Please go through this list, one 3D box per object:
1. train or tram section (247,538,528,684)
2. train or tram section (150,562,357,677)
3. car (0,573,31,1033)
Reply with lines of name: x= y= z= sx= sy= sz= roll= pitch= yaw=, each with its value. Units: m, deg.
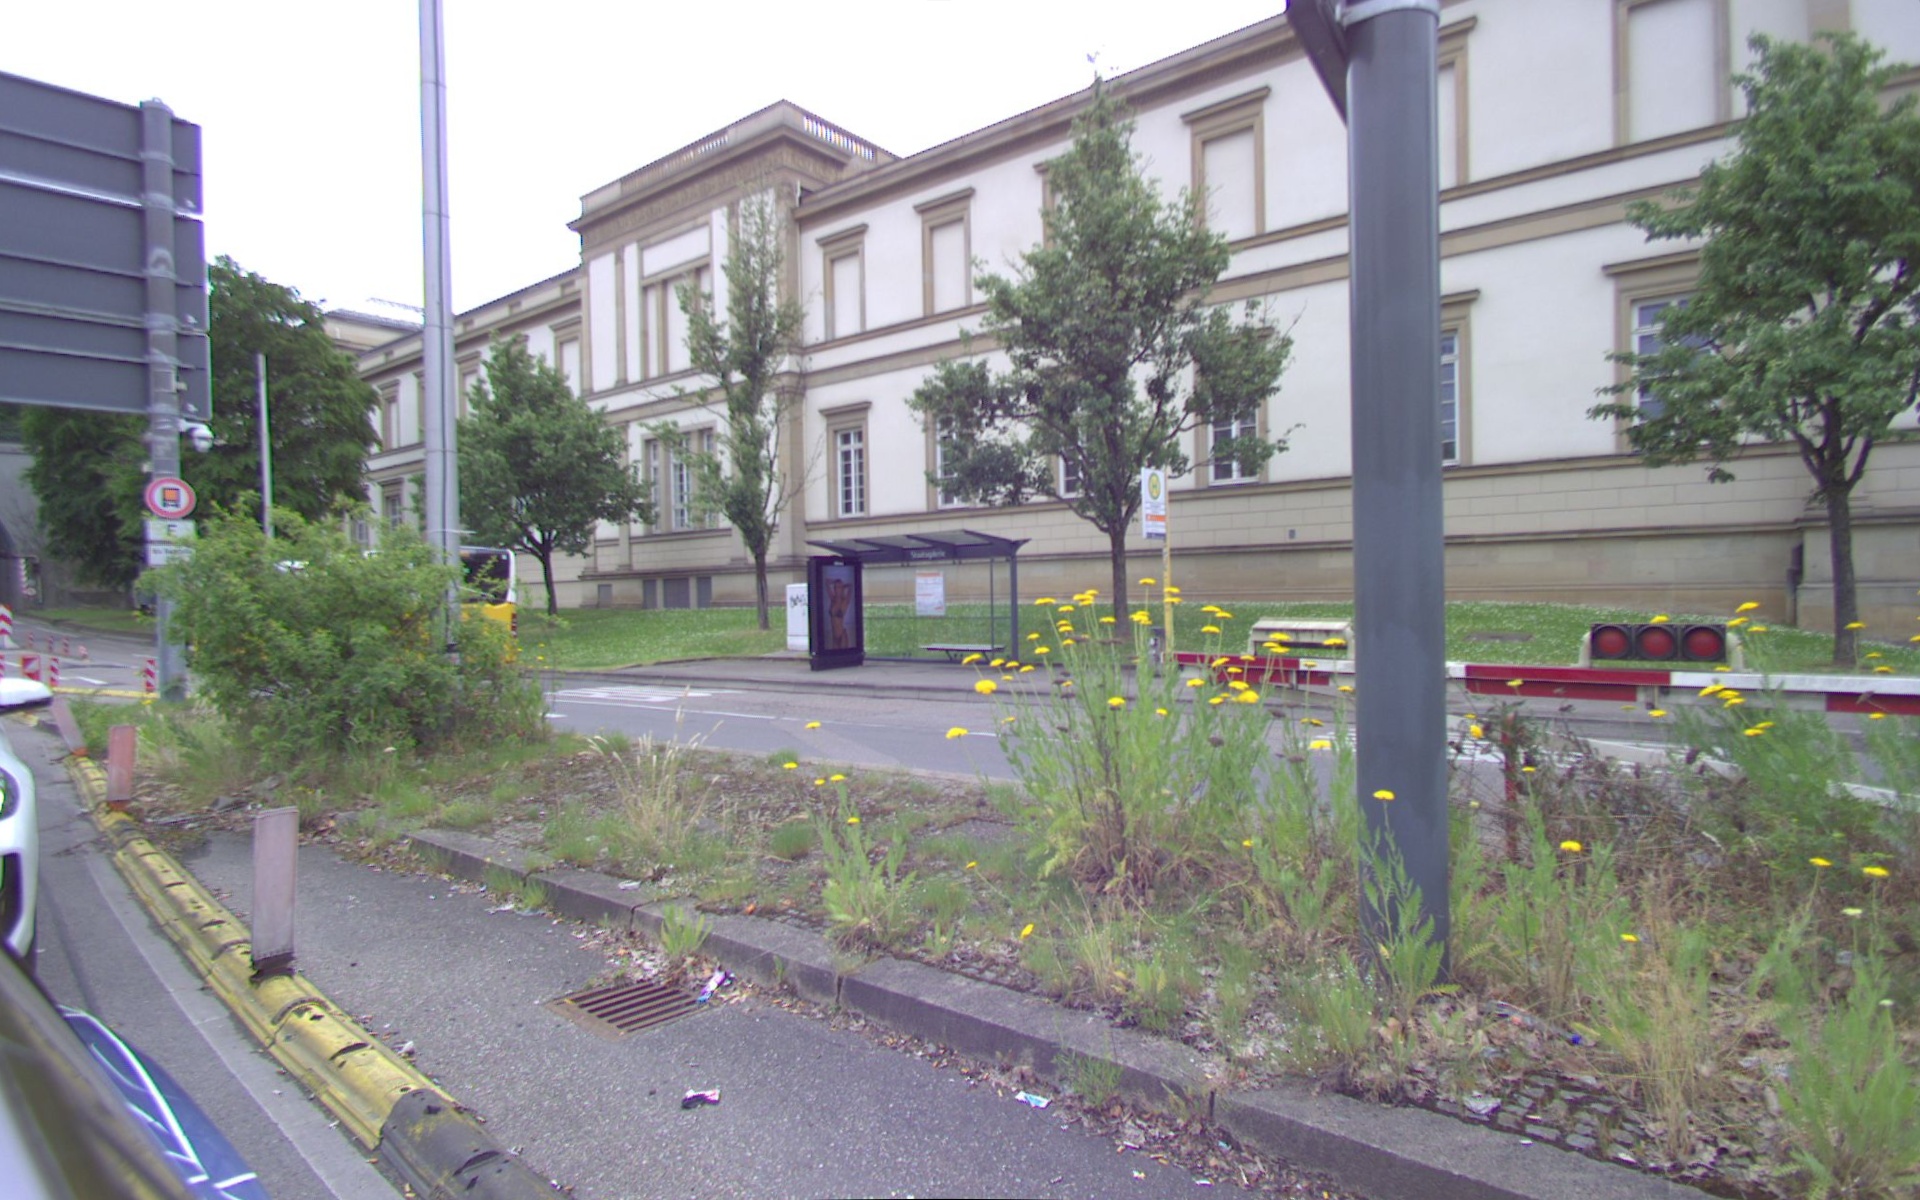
train or tram section: x=-14.613 y=0.346 z=25.419 sx=9.320 sy=3.094 sz=2.669 roll=-1 pitch=-2 yaw=37
train or tram section: x=-21.974 y=0.641 z=31.210 sx=9.365 sy=3.094 sz=2.667 roll=-1 pitch=-2 yaw=39
car: x=-5.241 y=0.717 z=4.206 sx=3.911 sy=1.568 sz=1.733 roll=-1 pitch=0 yaw=43
